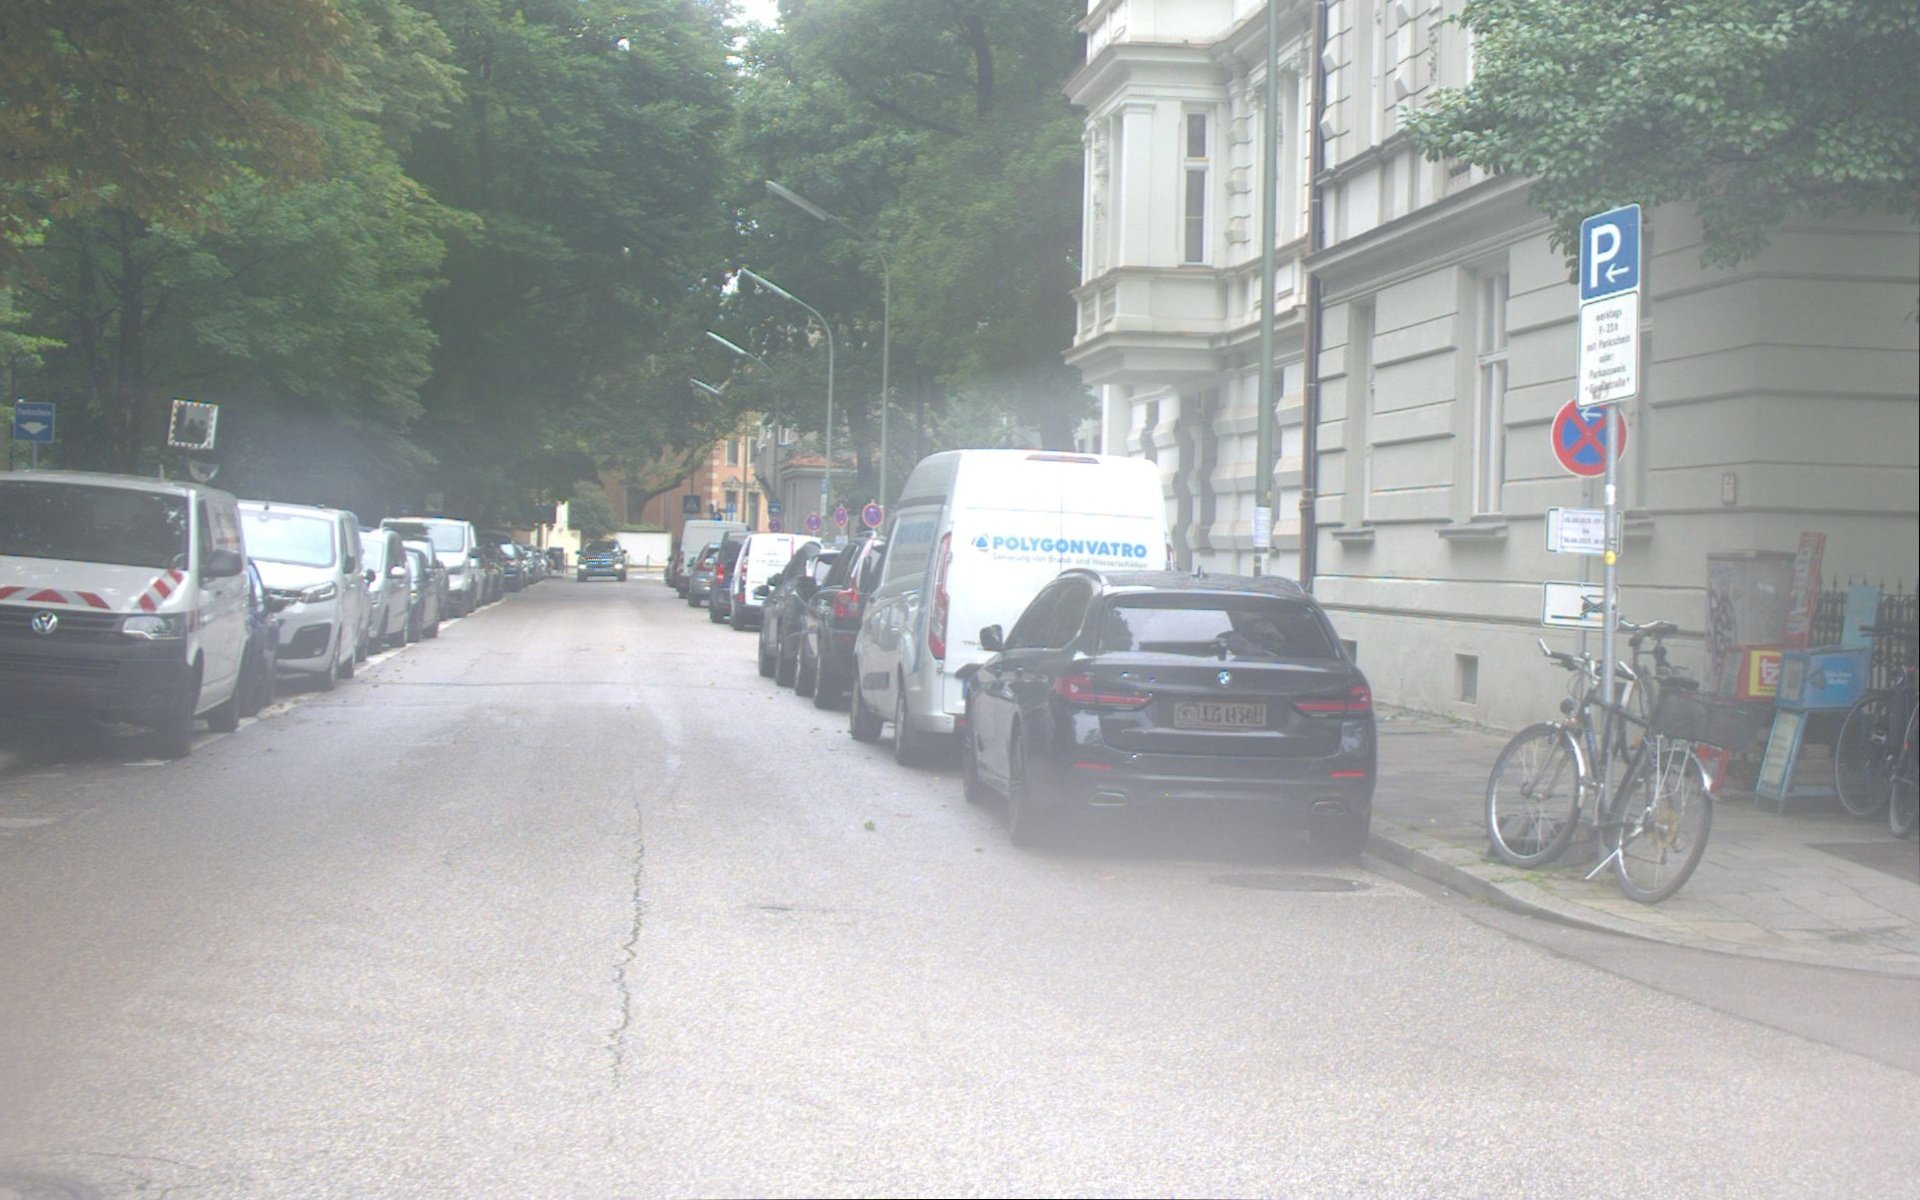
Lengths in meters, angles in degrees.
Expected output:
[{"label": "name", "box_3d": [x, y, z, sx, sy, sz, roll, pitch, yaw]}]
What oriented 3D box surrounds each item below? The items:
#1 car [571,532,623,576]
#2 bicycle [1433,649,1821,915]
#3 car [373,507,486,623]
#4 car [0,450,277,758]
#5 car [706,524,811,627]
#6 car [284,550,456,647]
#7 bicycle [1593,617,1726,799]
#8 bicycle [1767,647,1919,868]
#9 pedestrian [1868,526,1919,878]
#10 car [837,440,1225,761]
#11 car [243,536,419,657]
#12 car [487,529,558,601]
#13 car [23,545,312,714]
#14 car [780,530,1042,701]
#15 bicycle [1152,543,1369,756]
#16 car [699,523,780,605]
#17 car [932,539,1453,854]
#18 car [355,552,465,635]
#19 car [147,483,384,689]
[{"label": "car", "box_3d": [-15.105, -1.933, 143.380, 1.993, 1.777, 4.001, 1, 1, -4]}, {"label": "bicycle", "box_3d": [3.038, 0.799, 15.926, 0.653, 1.024, 2.203, 1, 2, -22]}, {"label": "car", "box_3d": [-10.731, -0.725, 69.798, 2.001, 2.179, 4.697, 3, 1, -7]}, {"label": "car", "box_3d": [-6.328, -0.037, 25.281, 2.247, 1.950, 5.455, 3, 1, -9]}, {"label": "car", "box_3d": [-4.068, -0.516, 68.945, 1.993, 1.968, 4.001, 1, 1, -4]}, {"label": "car", "box_3d": [-9.078, -0.050, 53.211, 2.118, 1.325, 4.138, 3, 1, -3]}, {"label": "bicycle", "box_3d": [4.435, 0.663, 21.893, 0.546, 1.056, 1.750, 2, 1, 3]}, {"label": "bicycle", "box_3d": [4.830, 0.815, 18.362, 0.429, 1.024, 1.891, 1, 2, -5]}, {"label": "pedestrian", "box_3d": [5.047, 0.489, 16.541, 0.857, 1.683, 0.975, 0, 1, -37]}, {"label": "car", "box_3d": [0.412, -0.019, 26.119, 2.203, 2.201, 4.856, 0, 1, -8]}, {"label": "car", "box_3d": [-8.781, -0.080, 48.290, 2.069, 1.514, 4.238, 3, 1, -6]}, {"label": "car", "box_3d": [-13.995, -1.129, 109.811, 2.047, 2.147, 4.315, 3, 1, -9]}, {"label": "car", "box_3d": [-7.094, 0.222, 31.159, 2.211, 1.325, 3.949, 3, 1, -9]}, {"label": "car", "box_3d": [-0.573, 0.129, 34.913, 2.137, 1.624, 4.317, 0, 1, -8]}, {"label": "bicycle", "box_3d": [2.234, 0.350, 25.816, 0.707, 1.510, 2.039, 1, 1, -23]}, {"label": "car", "box_3d": [-5.657, -0.940, 88.071, 1.993, 2.007, 4.001, 1, 1, -4]}, {"label": "car", "box_3d": [1.130, 0.451, 19.196, 2.272, 1.541, 4.587, 0, 1, -4]}, {"label": "car", "box_3d": [-9.820, -0.144, 61.455, 1.819, 1.325, 4.101, 3, 1, -9]}, {"label": "car", "box_3d": [-7.377, -0.183, 36.959, 2.183, 1.950, 5.168, 3, 1, -9]}]
